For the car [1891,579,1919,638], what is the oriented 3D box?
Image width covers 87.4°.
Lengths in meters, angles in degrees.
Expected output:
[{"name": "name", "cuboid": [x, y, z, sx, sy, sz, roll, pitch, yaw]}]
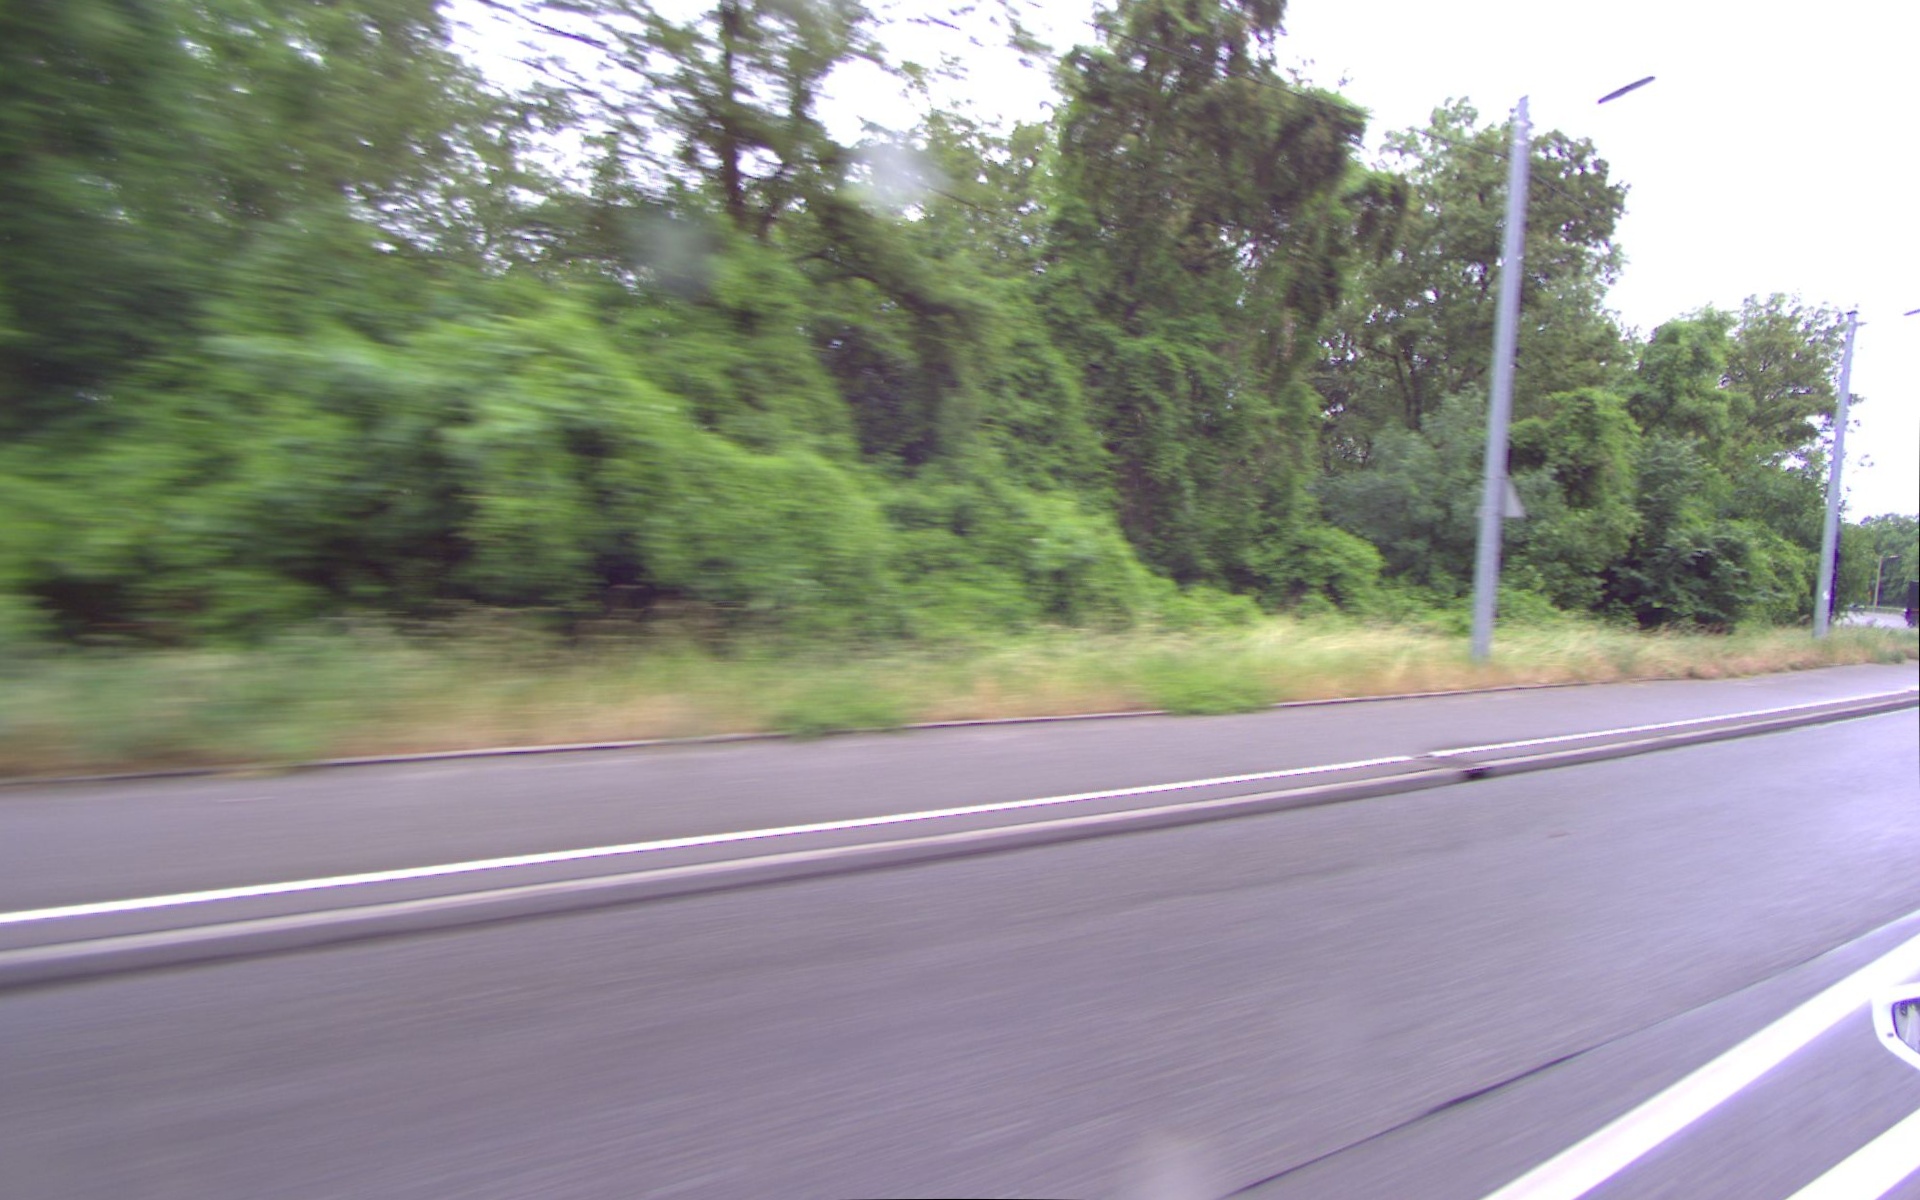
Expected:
[{"name": "car", "cuboid": [60.109, 0.557, 60.471, 5.882, 3.549, 1.989, 2, 1, 43]}]
